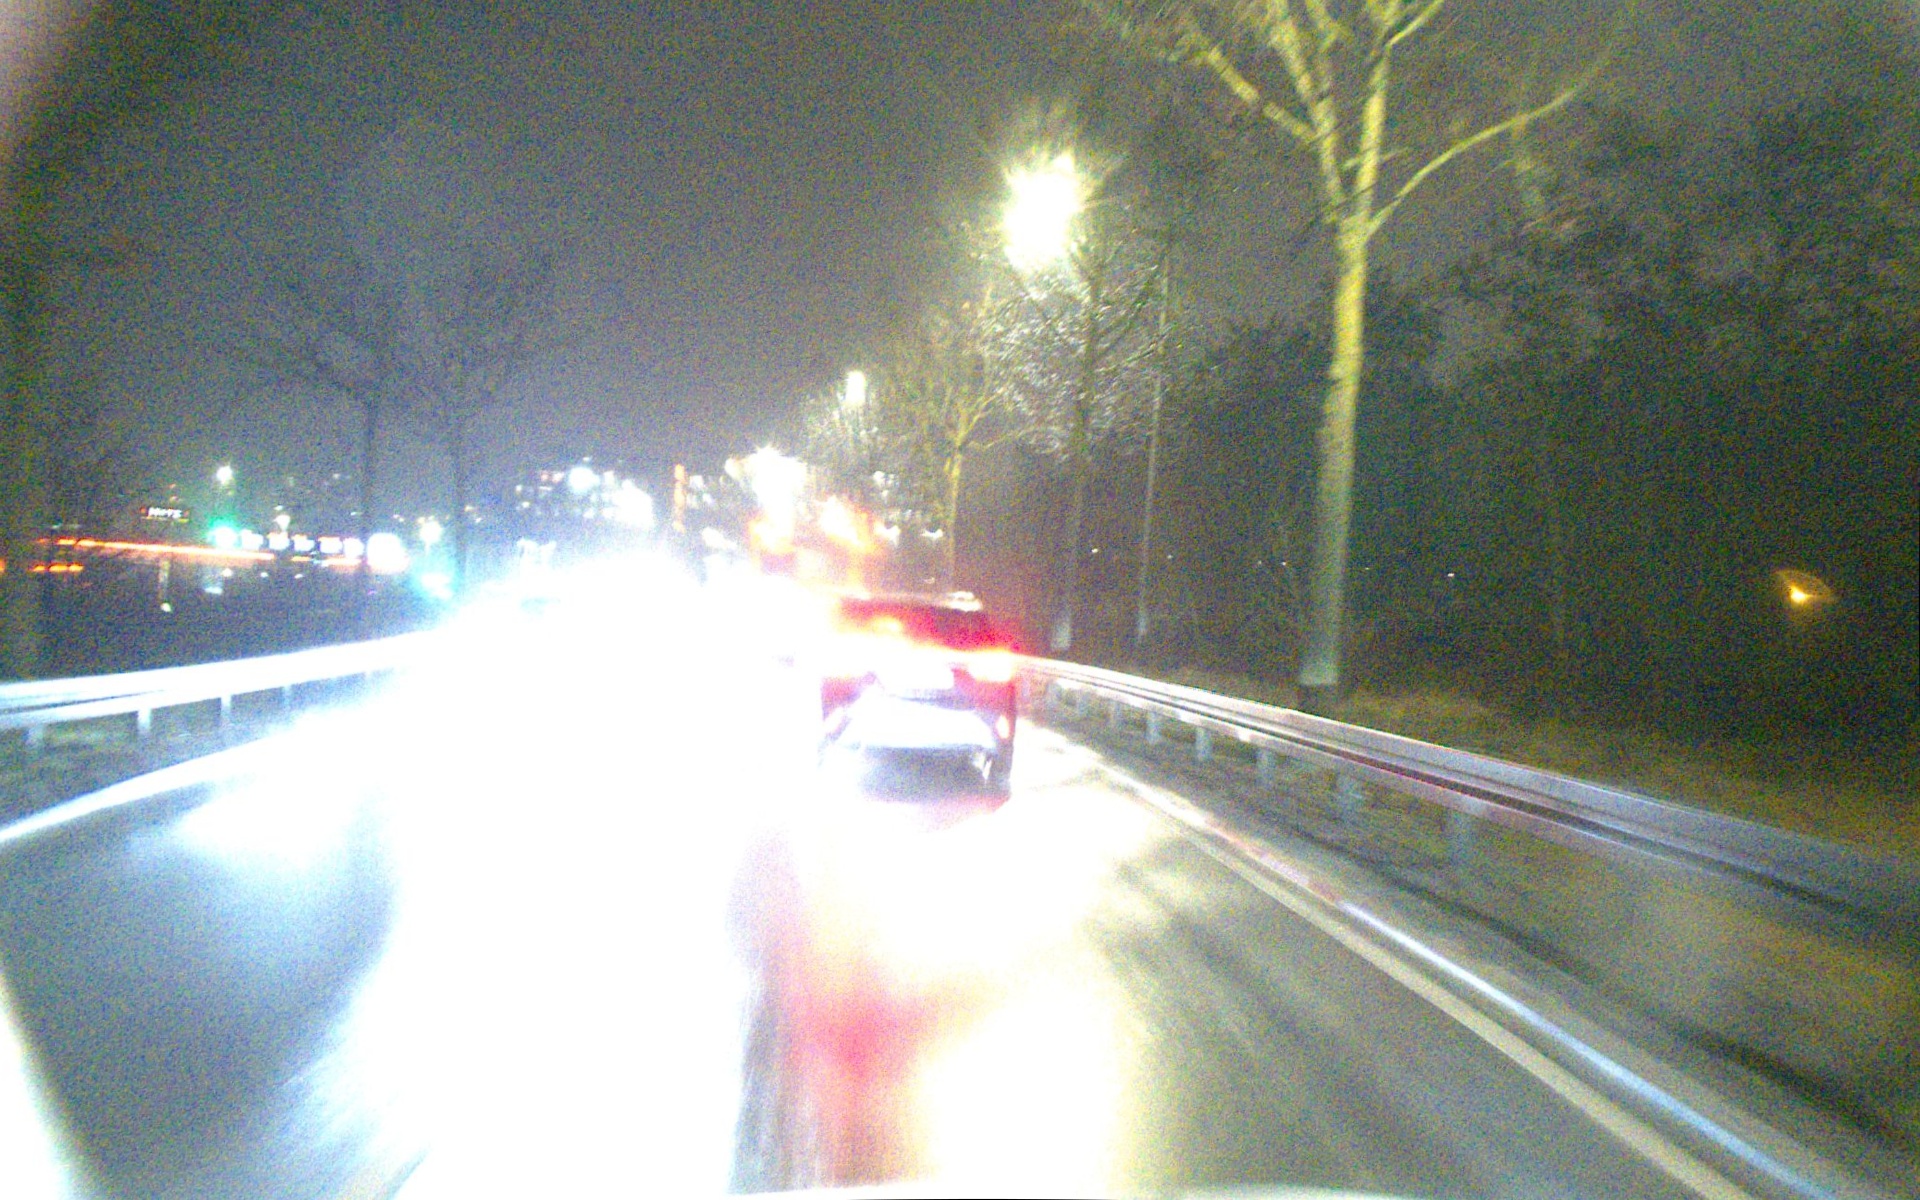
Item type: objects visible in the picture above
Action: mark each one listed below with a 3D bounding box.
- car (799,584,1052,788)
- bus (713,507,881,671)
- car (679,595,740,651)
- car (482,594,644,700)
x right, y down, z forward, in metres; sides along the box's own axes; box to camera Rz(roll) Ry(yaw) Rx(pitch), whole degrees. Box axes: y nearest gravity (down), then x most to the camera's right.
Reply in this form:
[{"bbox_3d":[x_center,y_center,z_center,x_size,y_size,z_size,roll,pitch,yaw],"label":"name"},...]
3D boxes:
[{"bbox_3d":[-0.334,0.671,15.086,1.953,1.551,3.999,2,0,-2],"label":"car"},{"bbox_3d":[-3.933,-0.207,37.795,2.989,3.269,9.026,1,0,-11],"label":"bus"},{"bbox_3d":[-12.019,1.068,79.072,2.649,2.521,5.291,1,0,-11],"label":"car"},{"bbox_3d":[-5.727,0.665,24.360,1.758,1.416,4.584,0,-1,-7],"label":"car"}]
